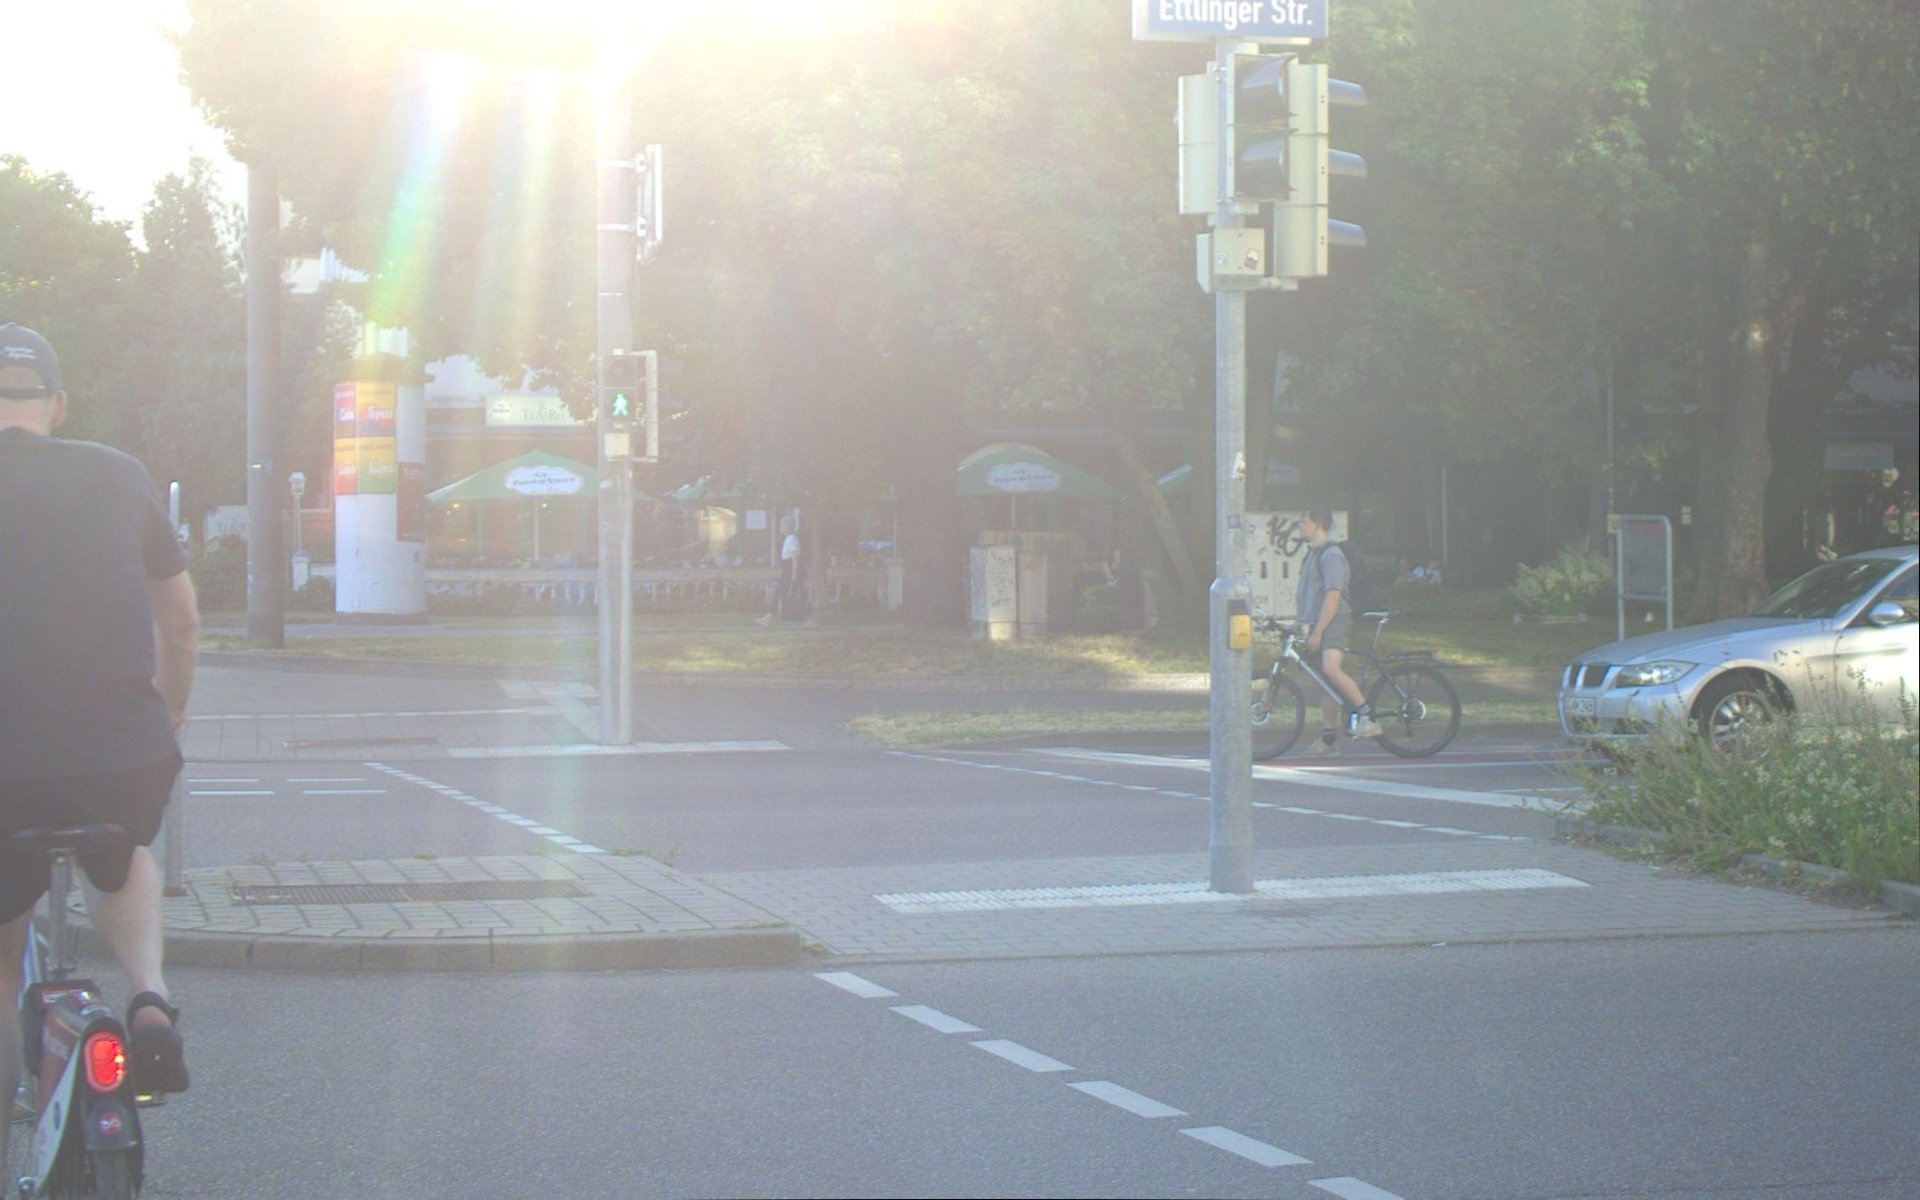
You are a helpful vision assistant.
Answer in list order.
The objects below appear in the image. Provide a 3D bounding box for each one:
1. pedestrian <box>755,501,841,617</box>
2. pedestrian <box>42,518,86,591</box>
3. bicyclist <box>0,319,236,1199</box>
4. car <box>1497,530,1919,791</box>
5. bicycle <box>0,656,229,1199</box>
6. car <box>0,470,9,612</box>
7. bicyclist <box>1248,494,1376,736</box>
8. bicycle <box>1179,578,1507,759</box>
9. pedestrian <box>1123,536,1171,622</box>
[{"bbox_3d":[-2.461,-0.630,52.341,1.211,1.734,0.894,0,1,4],"label":"pedestrian"},{"bbox_3d":[-21.359,-1.085,81.931,0.782,1.734,0.894,-1,1,-31],"label":"pedestrian"},{"bbox_3d":[-1.695,0.398,6.144,0.752,1.737,0.839,1,0,-12],"label":"bicyclist"},{"bbox_3d":[5.967,0.328,22.129,4.533,1.555,2.001,-1,1,-12],"label":"car"},{"bbox_3d":[-1.754,0.754,6.326,0.775,1.235,2.021,1,1,-12],"label":"bicycle"},{"bbox_3d":[-21.728,-1.249,73.484,2.591,2.942,5.090,-1,1,-14],"label":"car"},{"bbox_3d":[2.475,0.102,24.248,0.836,1.673,0.784,0,0,3],"label":"bicyclist"},{"bbox_3d":[2.680,0.474,24.241,2.242,1.235,0.778,-1,0,3],"label":"bicycle"},{"bbox_3d":[2.924,-0.332,53.706,0.597,1.335,0.734,-1,1,-9],"label":"pedestrian"}]
